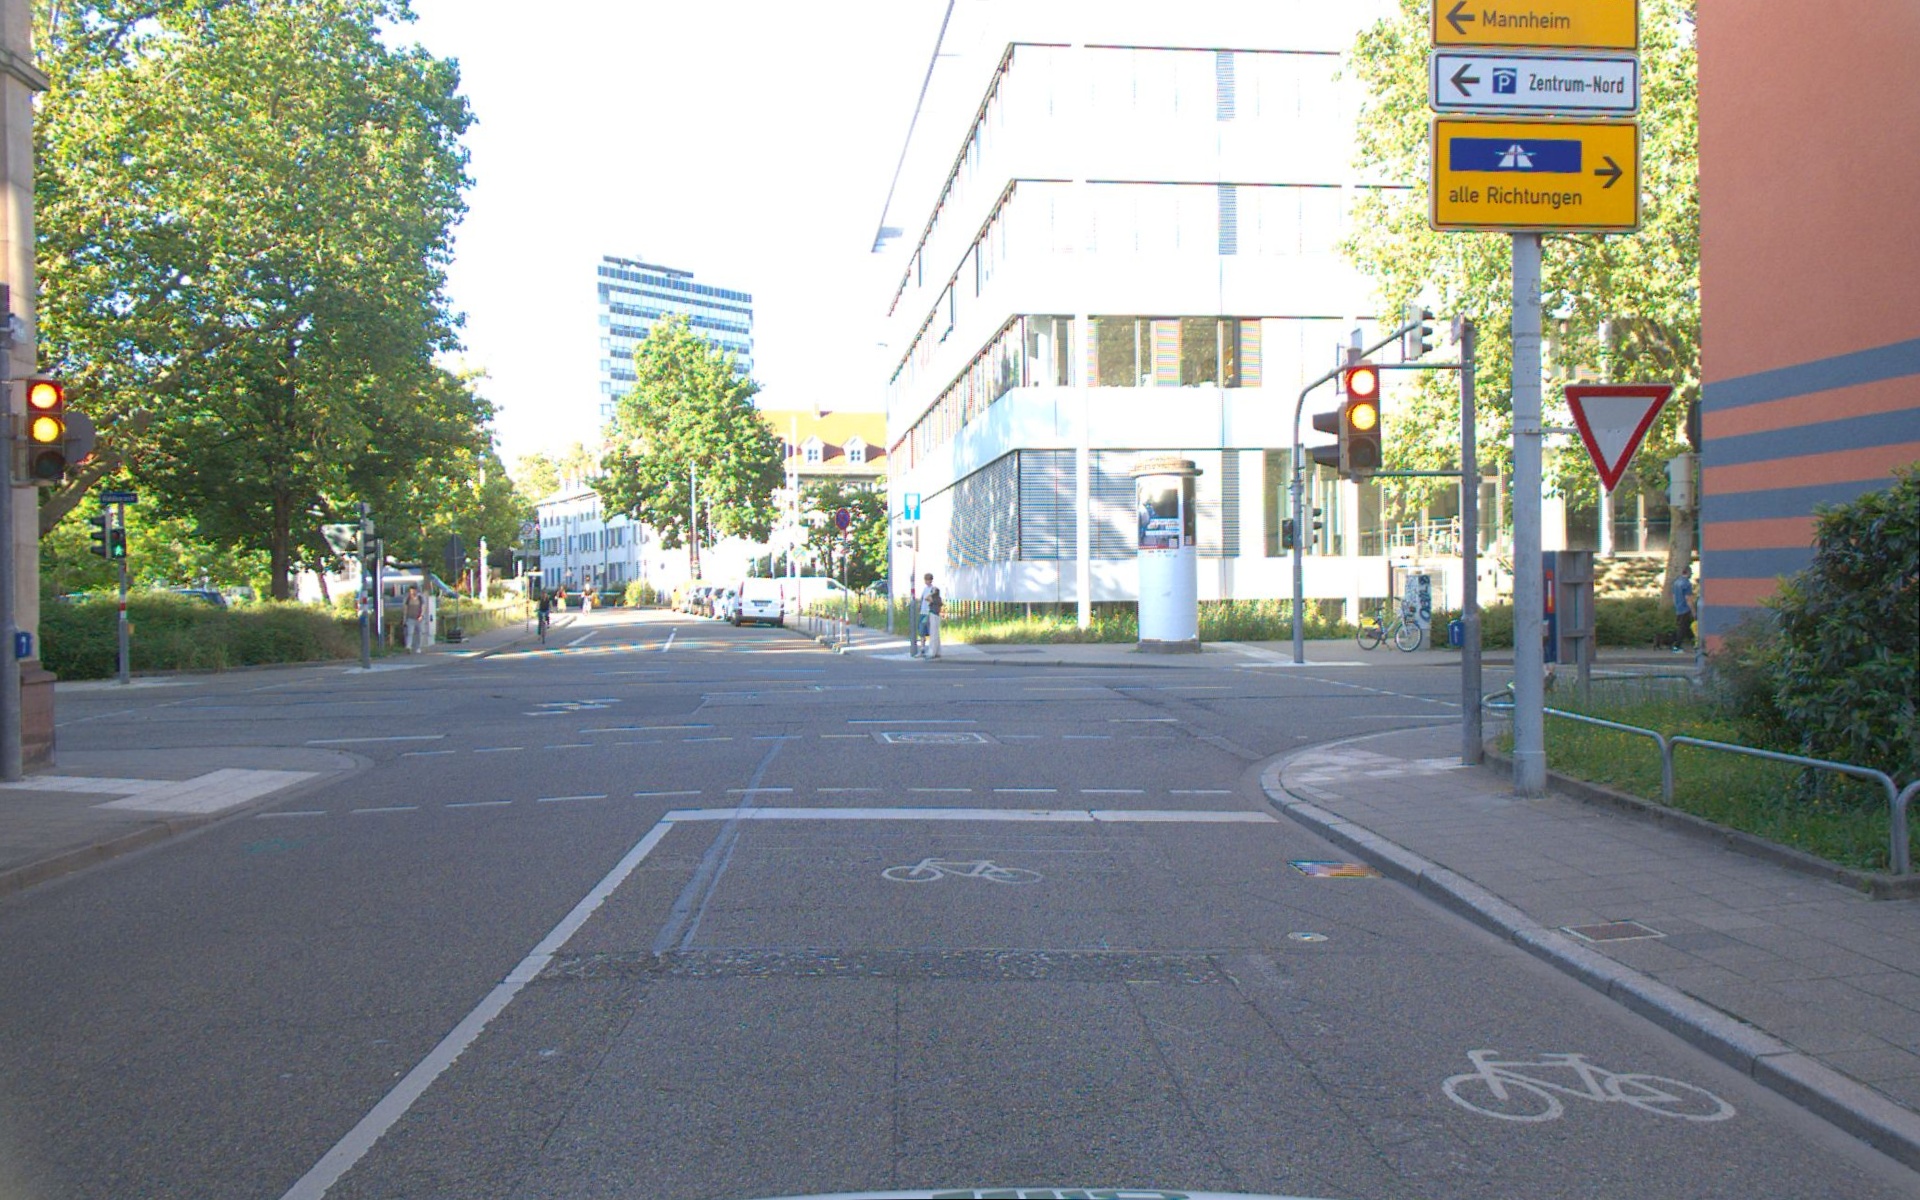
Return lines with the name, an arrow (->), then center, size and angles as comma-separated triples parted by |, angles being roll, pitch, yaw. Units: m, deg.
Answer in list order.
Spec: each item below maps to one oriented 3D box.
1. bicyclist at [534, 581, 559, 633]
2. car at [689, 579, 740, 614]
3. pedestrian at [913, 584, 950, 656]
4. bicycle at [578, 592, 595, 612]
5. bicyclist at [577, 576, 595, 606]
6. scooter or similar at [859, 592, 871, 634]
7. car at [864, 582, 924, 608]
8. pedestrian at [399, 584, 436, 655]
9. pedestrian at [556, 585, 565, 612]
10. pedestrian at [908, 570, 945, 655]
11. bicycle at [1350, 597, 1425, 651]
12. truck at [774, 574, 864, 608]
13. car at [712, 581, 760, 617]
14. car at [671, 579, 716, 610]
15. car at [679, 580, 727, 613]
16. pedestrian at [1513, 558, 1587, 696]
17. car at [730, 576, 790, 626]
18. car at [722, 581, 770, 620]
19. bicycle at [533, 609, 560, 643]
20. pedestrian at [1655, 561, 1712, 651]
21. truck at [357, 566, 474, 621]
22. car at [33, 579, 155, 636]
bicyclist -> -12.594, 0.214, 50.388 | 0.604, 1.559, 0.901 | -1, 0, -9
car -> -12.675, -0.211, 85.375 | 1.860, 1.684, 4.391 | 0, 1, -19
pedestrian -> -0.647, 0.438, 37.191 | 0.551, 1.567, 0.673 | -4, 1, -19
bicycle -> -20.022, 0.116, 88.644 | 0.851, 1.027, 2.406 | -3, 0, -13
bicyclist -> -20.049, -0.478, 88.658 | 0.851, 1.541, 1.016 | -3, 0, -13
scooter or similar -> -3.367, 0.449, 58.516 | 0.324, 1.449, 1.333 | 1, 0, -6
car -> -4.165, -0.324, 104.184 | 3.502, 1.573, 1.549 | -1, 0, -20
pedestrian -> -13.882, 0.489, 42.316 | 0.690, 1.753, 0.953 | -2, 0, -9
pedestrian -> -24.740, -0.082, 102.303 | 0.428, 1.636, 0.488 | -1, 0, -27
pedestrian -> -0.763, 0.272, 37.795 | 0.547, 1.882, 0.678 | -3, 1, 15
bicycle -> 9.347, 0.508, 36.176 | 0.503, 1.067, 1.667 | -3, 4, -35
truck -> -8.779, -0.542, 102.929 | 5.258, 2.049, 1.989 | -1, 0, -20
car -> -10.611, -0.089, 78.157 | 1.856, 1.582, 4.400 | 0, 1, -14
car -> -15.349, -0.321, 95.270 | 1.860, 1.684, 4.391 | 0, 1, -19
car -> -14.046, -0.219, 90.228 | 1.860, 1.684, 4.391 | 0, 1, -19
pedestrian -> 8.169, 0.364, 22.915 | 0.692, 1.872, 0.837 | 1, 0, -1
car -> -7.847, -0.001, 64.604 | 2.047, 1.827, 4.404 | 0, 1, -10
car -> -9.443, -0.014, 72.803 | 1.854, 1.582, 4.404 | 0, 1, -10
bicycle -> -12.582, 0.772, 50.369 | 0.604, 0.986, 1.837 | -1, 1, -9
pedestrian -> 15.197, 0.119, 34.773 | 0.819, 1.872, 0.707 | 1, 0, -11
truck -> -24.566, -0.321, 74.762 | 4.741, 2.441, 2.082 | 0, 1, -11
car -> -39.978, 0.330, 76.446 | 4.472, 2.433, 2.069 | -2, 0, -10
